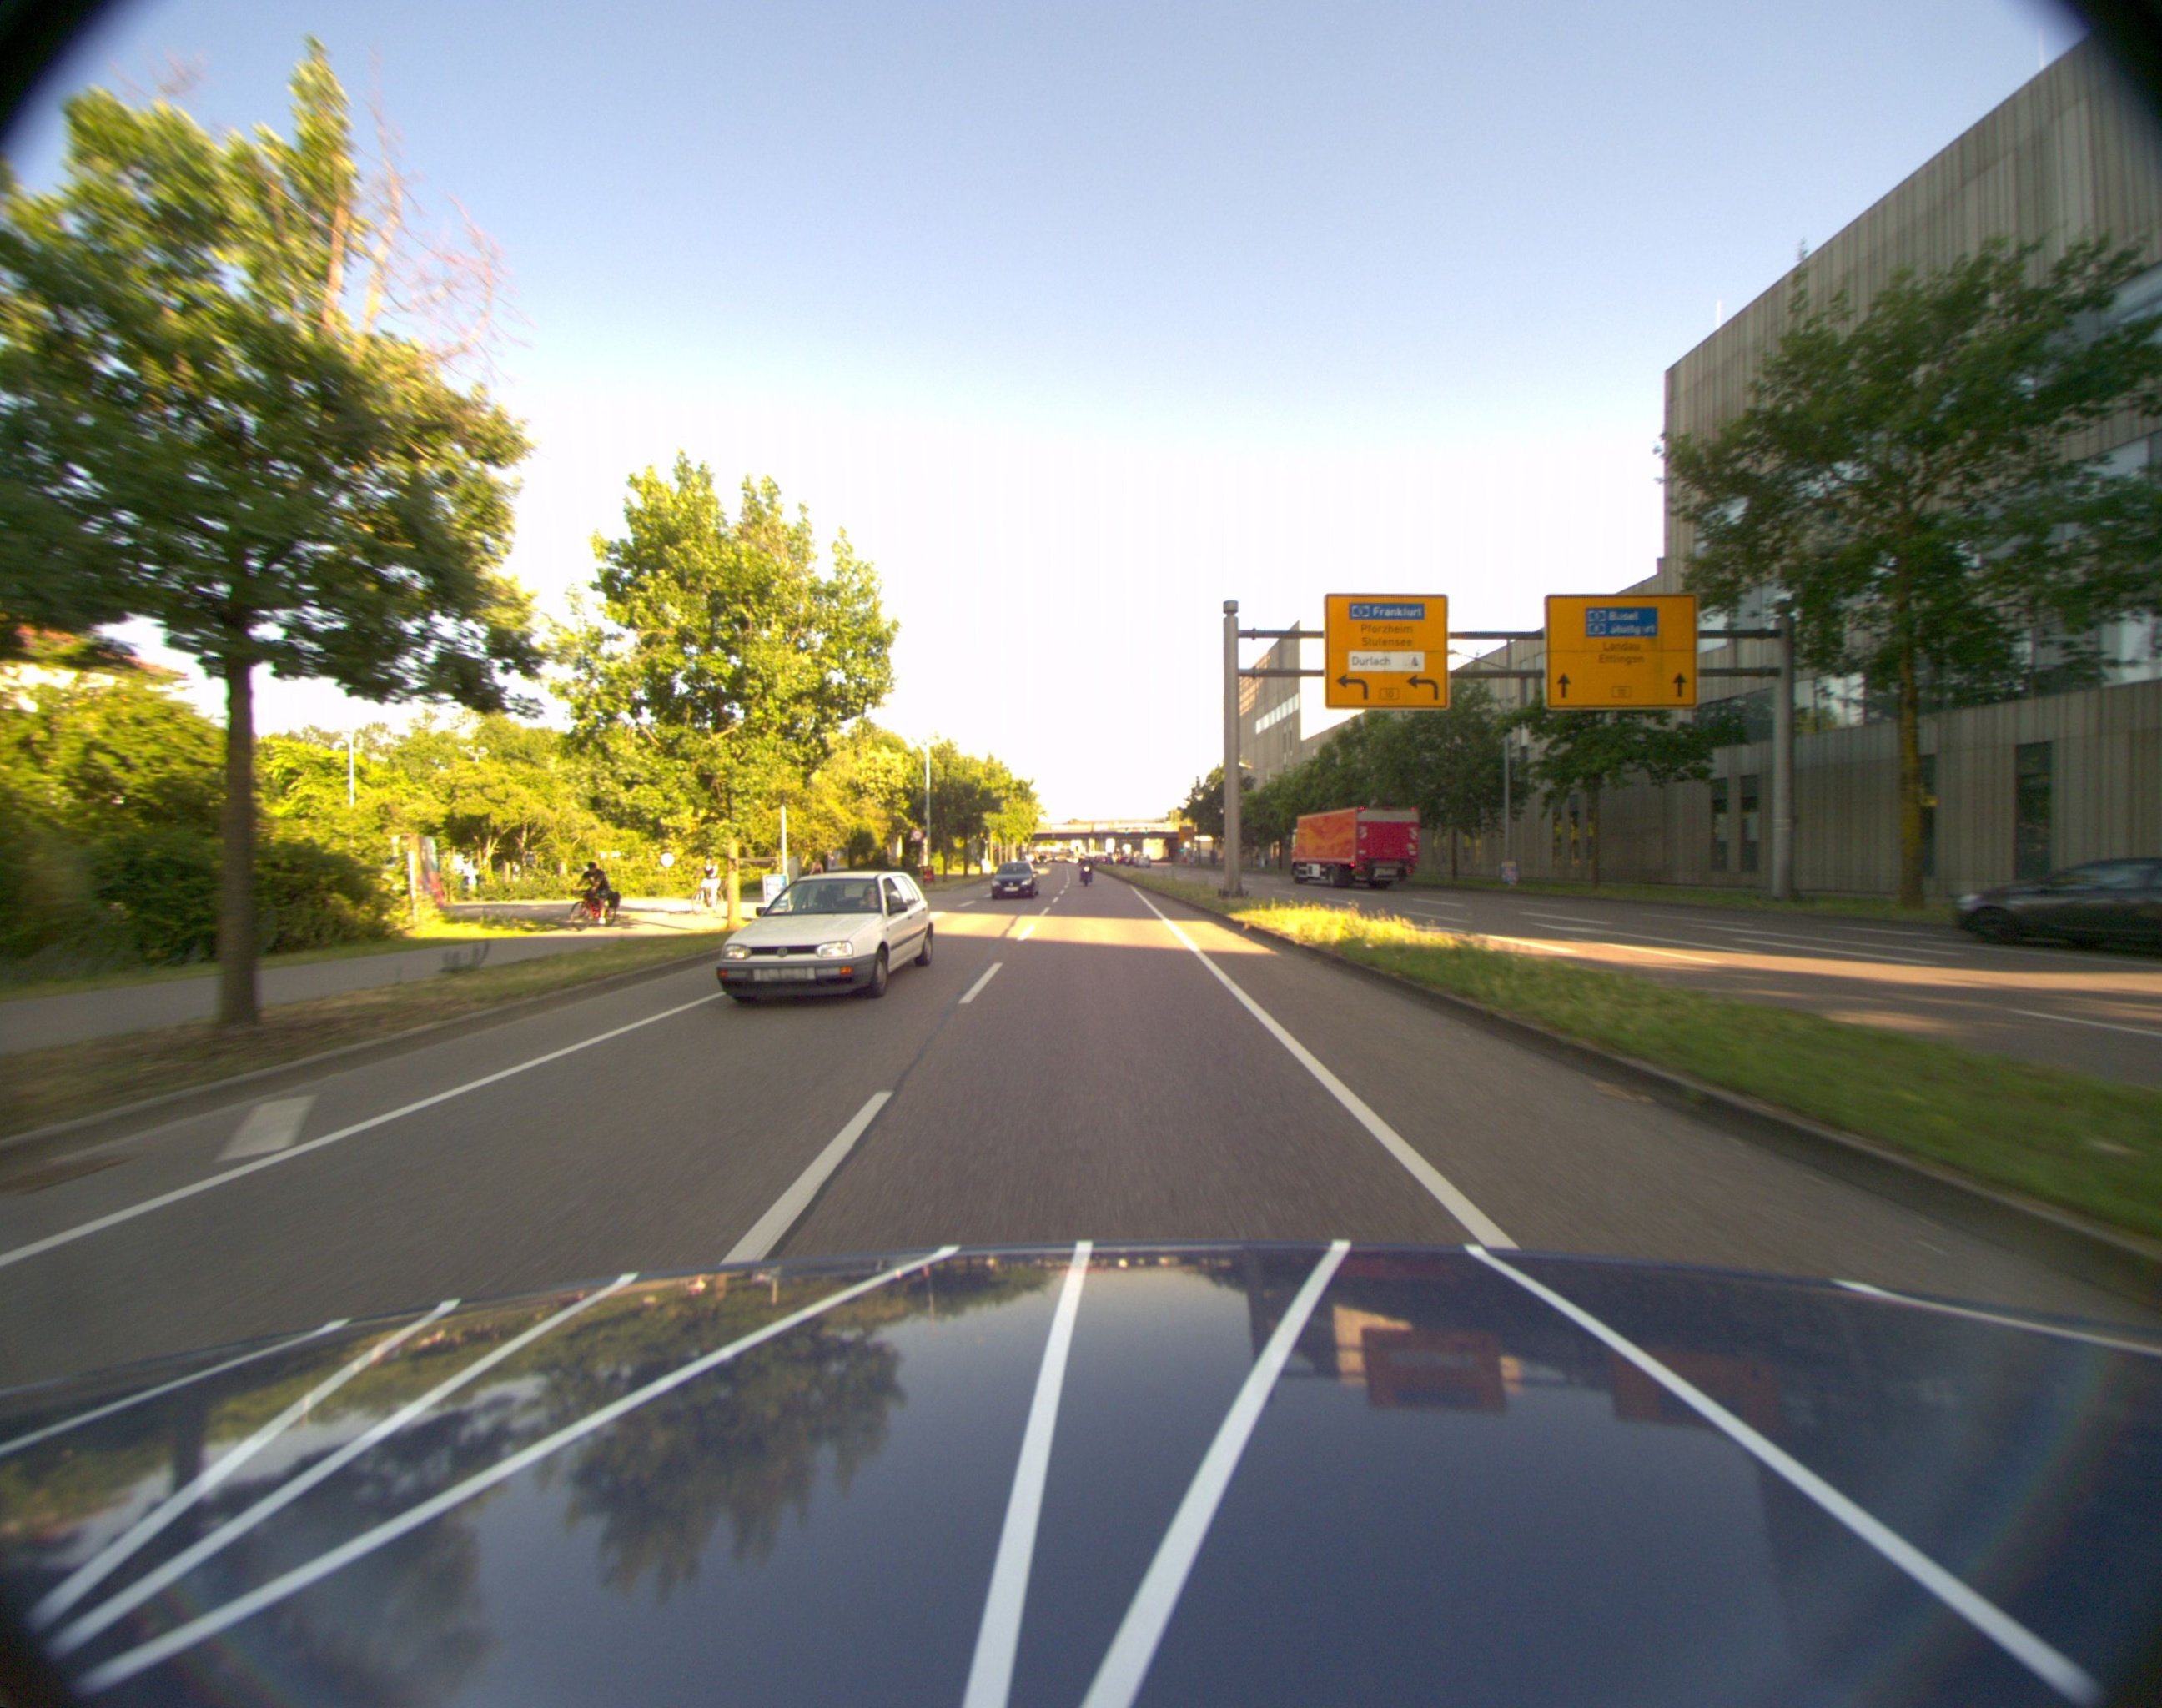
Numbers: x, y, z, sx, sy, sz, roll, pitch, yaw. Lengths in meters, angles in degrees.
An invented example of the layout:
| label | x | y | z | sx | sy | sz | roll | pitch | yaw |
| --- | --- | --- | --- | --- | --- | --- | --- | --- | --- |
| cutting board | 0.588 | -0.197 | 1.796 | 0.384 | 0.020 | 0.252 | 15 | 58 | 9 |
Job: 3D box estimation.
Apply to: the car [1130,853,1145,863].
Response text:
| label | x | y | z | sx | sy | sz | roll | pitch | yaw |
| --- | --- | --- | --- | --- | --- | --- | --- | --- | --- |
| car | 8.194 | 0.541 | 110.680 | 1.930 | 1.510 | 3.999 | 0 | 0 | -1 |

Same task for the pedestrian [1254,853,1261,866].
| label | x | y | z | sx | sy | sz | roll | pitch | yaw |
| --- | --- | --- | --- | --- | --- | --- | --- | --- | --- |
| pedestrian | 20.832 | 0.642 | 89.649 | 0.698 | 1.619 | 0.725 | -1 | 1 | -1 |

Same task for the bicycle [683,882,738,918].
| label | x | y | z | sx | sy | sz | roll | pitch | yaw |
| --- | --- | --- | --- | --- | --- | --- | --- | --- | --- |
| bicycle | -11.336 | 1.376 | 23.328 | 0.618 | 0.968 | 2.058 | -1 | 0 | 1 |

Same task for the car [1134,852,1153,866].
| label | x | y | z | sx | sy | sz | roll | pitch | yaw |
| --- | --- | --- | --- | --- | --- | --- | --- | --- | --- |
| car | 7.918 | 0.588 | 96.368 | 1.998 | 1.805 | 4.401 | 0 | 0 | 0 |

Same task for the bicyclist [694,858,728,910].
| label | x | y | z | sx | sy | sz | roll | pitch | yaw |
| --- | --- | --- | --- | --- | --- | --- | --- | --- | --- |
| bicyclist | -11.339 | 0.908 | 23.314 | 0.605 | 1.569 | 0.848 | -1 | 1 | 1 |

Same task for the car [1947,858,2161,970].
| label | x | y | z | sx | sy | sz | roll | pitch | yaw |
| --- | --- | --- | --- | --- | --- | --- | --- | --- | --- |
| car | 15.676 | 0.839 | 11.104 | 1.600 | 1.504 | 3.866 | -1 | 0 | -1 |

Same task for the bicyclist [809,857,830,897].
| label | x | y | z | sx | sy | sz | roll | pitch | yaw |
| --- | --- | --- | --- | --- | --- | --- | --- | --- | --- |
| bicyclist | -11.470 | 1.006 | 33.340 | 0.605 | 1.723 | 0.848 | -1 | 1 | 1 |

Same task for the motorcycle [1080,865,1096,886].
| label | x | y | z | sx | sy | sz | roll | pitch | yaw |
| --- | --- | --- | --- | --- | --- | --- | --- | --- | --- |
| motorcycle | 0.343 | 1.078 | 38.720 | 0.749 | 0.977 | 2.140 | -1 | 1 | -2 |

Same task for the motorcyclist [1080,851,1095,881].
| label | x | y | z | sx | sy | sz | roll | pitch | yaw |
| --- | --- | --- | --- | --- | --- | --- | --- | --- | --- |
| motorcyclist | 0.335 | 0.624 | 38.885 | 0.734 | 1.503 | 0.919 | 0 | 1 | -2 |

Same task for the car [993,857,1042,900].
| label | x | y | z | sx | sy | sz | roll | pitch | yaw |
| --- | --- | --- | --- | --- | --- | --- | --- | --- | --- |
| car | -2.491 | 0.919 | 30.558 | 1.726 | 1.490 | 4.212 | -2 | 1 | -2 |

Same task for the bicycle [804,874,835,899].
| label | x | y | z | sx | sy | sz | roll | pitch | yaw |
| --- | --- | --- | --- | --- | --- | --- | --- | --- | --- |
| bicycle | -11.463 | 1.405 | 33.400 | 0.618 | 0.968 | 2.058 | -1 | 0 | 1 |

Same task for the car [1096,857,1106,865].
| label | x | y | z | sx | sy | sz | roll | pitch | yaw |
| --- | --- | --- | --- | --- | --- | --- | --- | --- | --- |
| car | 3.665 | 1.192 | 137.775 | 1.696 | 1.425 | 3.771 | 0 | 0 | -1 |

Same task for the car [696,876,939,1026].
| label | x | y | z | sx | sy | sz | roll | pitch | yaw |
| --- | --- | --- | --- | --- | --- | --- | --- | --- | --- |
| car | -3.053 | 1.046 | 9.739 | 1.615 | 1.390 | 4.038 | -2 | 0 | 1 |

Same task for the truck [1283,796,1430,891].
| label | x | y | z | sx | sy | sz | roll | pitch | yaw |
| --- | --- | --- | --- | --- | --- | --- | --- | --- | --- |
| truck | 12.521 | -0.447 | 35.820 | 3.006 | 3.789 | 10.087 | -1 | 0 | -1 |

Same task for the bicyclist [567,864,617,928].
| label | x | y | z | sx | sy | sz | roll | pitch | yaw |
| --- | --- | --- | --- | --- | --- | --- | --- | --- | --- |
| bicyclist | -11.735 | 0.991 | 18.269 | 0.614 | 1.493 | 0.848 | -1 | 1 | 1 |

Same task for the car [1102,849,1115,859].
| label | x | y | z | sx | sy | sz | roll | pitch | yaw |
| --- | --- | --- | --- | --- | --- | --- | --- | --- | --- |
| car | 4.359 | -0.012 | 119.927 | 1.841 | 1.510 | 3.951 | 0 | 0 | -2 |

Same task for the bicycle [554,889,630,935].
| label | x | y | z | sx | sy | sz | roll | pitch | yaw |
| --- | --- | --- | --- | --- | --- | --- | --- | --- | --- |
| bicycle | -11.732 | 1.371 | 18.307 | 0.618 | 0.968 | 1.822 | -1 | 0 | 1 |
